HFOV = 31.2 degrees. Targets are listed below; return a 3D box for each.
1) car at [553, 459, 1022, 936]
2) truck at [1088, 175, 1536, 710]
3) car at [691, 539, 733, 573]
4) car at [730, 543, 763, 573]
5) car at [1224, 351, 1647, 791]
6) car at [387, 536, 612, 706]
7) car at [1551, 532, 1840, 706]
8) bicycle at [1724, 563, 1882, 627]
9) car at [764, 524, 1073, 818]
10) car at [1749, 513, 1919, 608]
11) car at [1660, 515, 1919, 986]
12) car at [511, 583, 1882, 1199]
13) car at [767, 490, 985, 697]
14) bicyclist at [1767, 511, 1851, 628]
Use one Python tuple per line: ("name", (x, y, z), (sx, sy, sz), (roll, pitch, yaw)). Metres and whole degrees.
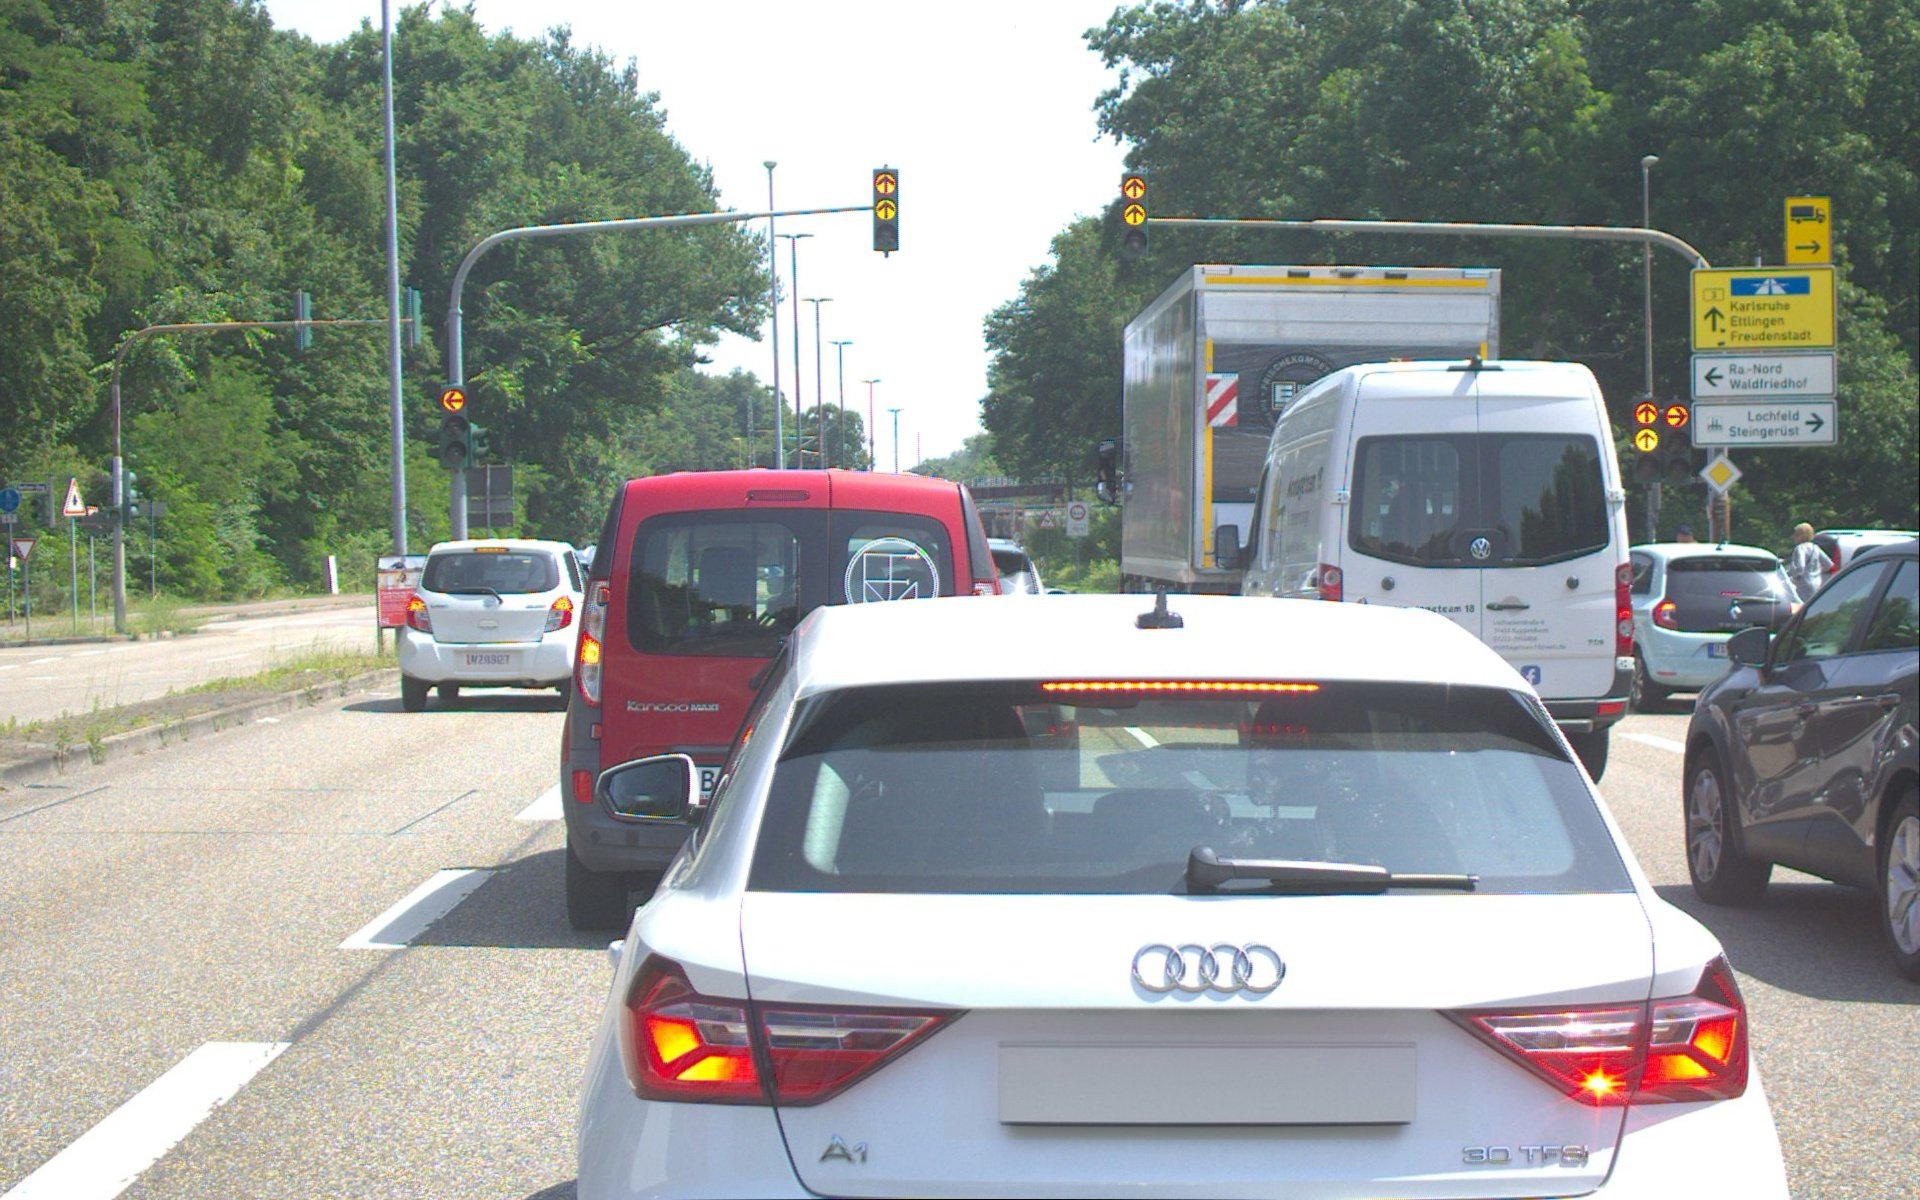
("car", (-0.713, 0.318, 14.606), (1.711, 1.742, 4.092), (0, 1, -2))
("truck", (3.142, -1.413, 34.384), (3.088, 4.418, 11.581), (0, 1, -1))
("car", (-13.172, -2.335, 182.682), (1.993, 1.766, 4.205), (-1, 1, -2))
("car", (-12.931, -2.563, 208.459), (1.830, 1.722, 4.000), (-1, 1, -1))
("car", (3.036, -0.216, 23.022), (2.031, 2.635, 4.846), (0, 1, -2))
("car", (-4.232, 0.142, 32.118), (1.711, 1.487, 4.092), (0, 1, -2))
("car", (6.890, 0.130, 32.602), (1.711, 1.541, 4.092), (0, 1, -2))
("bicycle", (10.498, -0.059, 42.833), (1.825, 0.763, 0.599), (0, 1, 40))
("car", (-0.312, 0.356, 21.102), (1.711, 1.626, 4.092), (0, 1, -2))
("car", (15.744, -0.691, 57.867), (4.471, 1.525, 1.798), (-1, 1, -2))
("car", (4.028, 0.478, 13.147), (1.711, 1.587, 4.092), (0, 1, -2))
("car", (0.215, 0.688, 6.332), (1.711, 1.381, 4.092), (0, 1, -2))
("car", (-0.743, -0.089, 28.980), (1.711, 1.626, 4.092), (0, 1, -2))
("bicyclist", (10.554, -0.377, 42.729), (0.828, 1.434, 0.598), (0, 0, 39))
